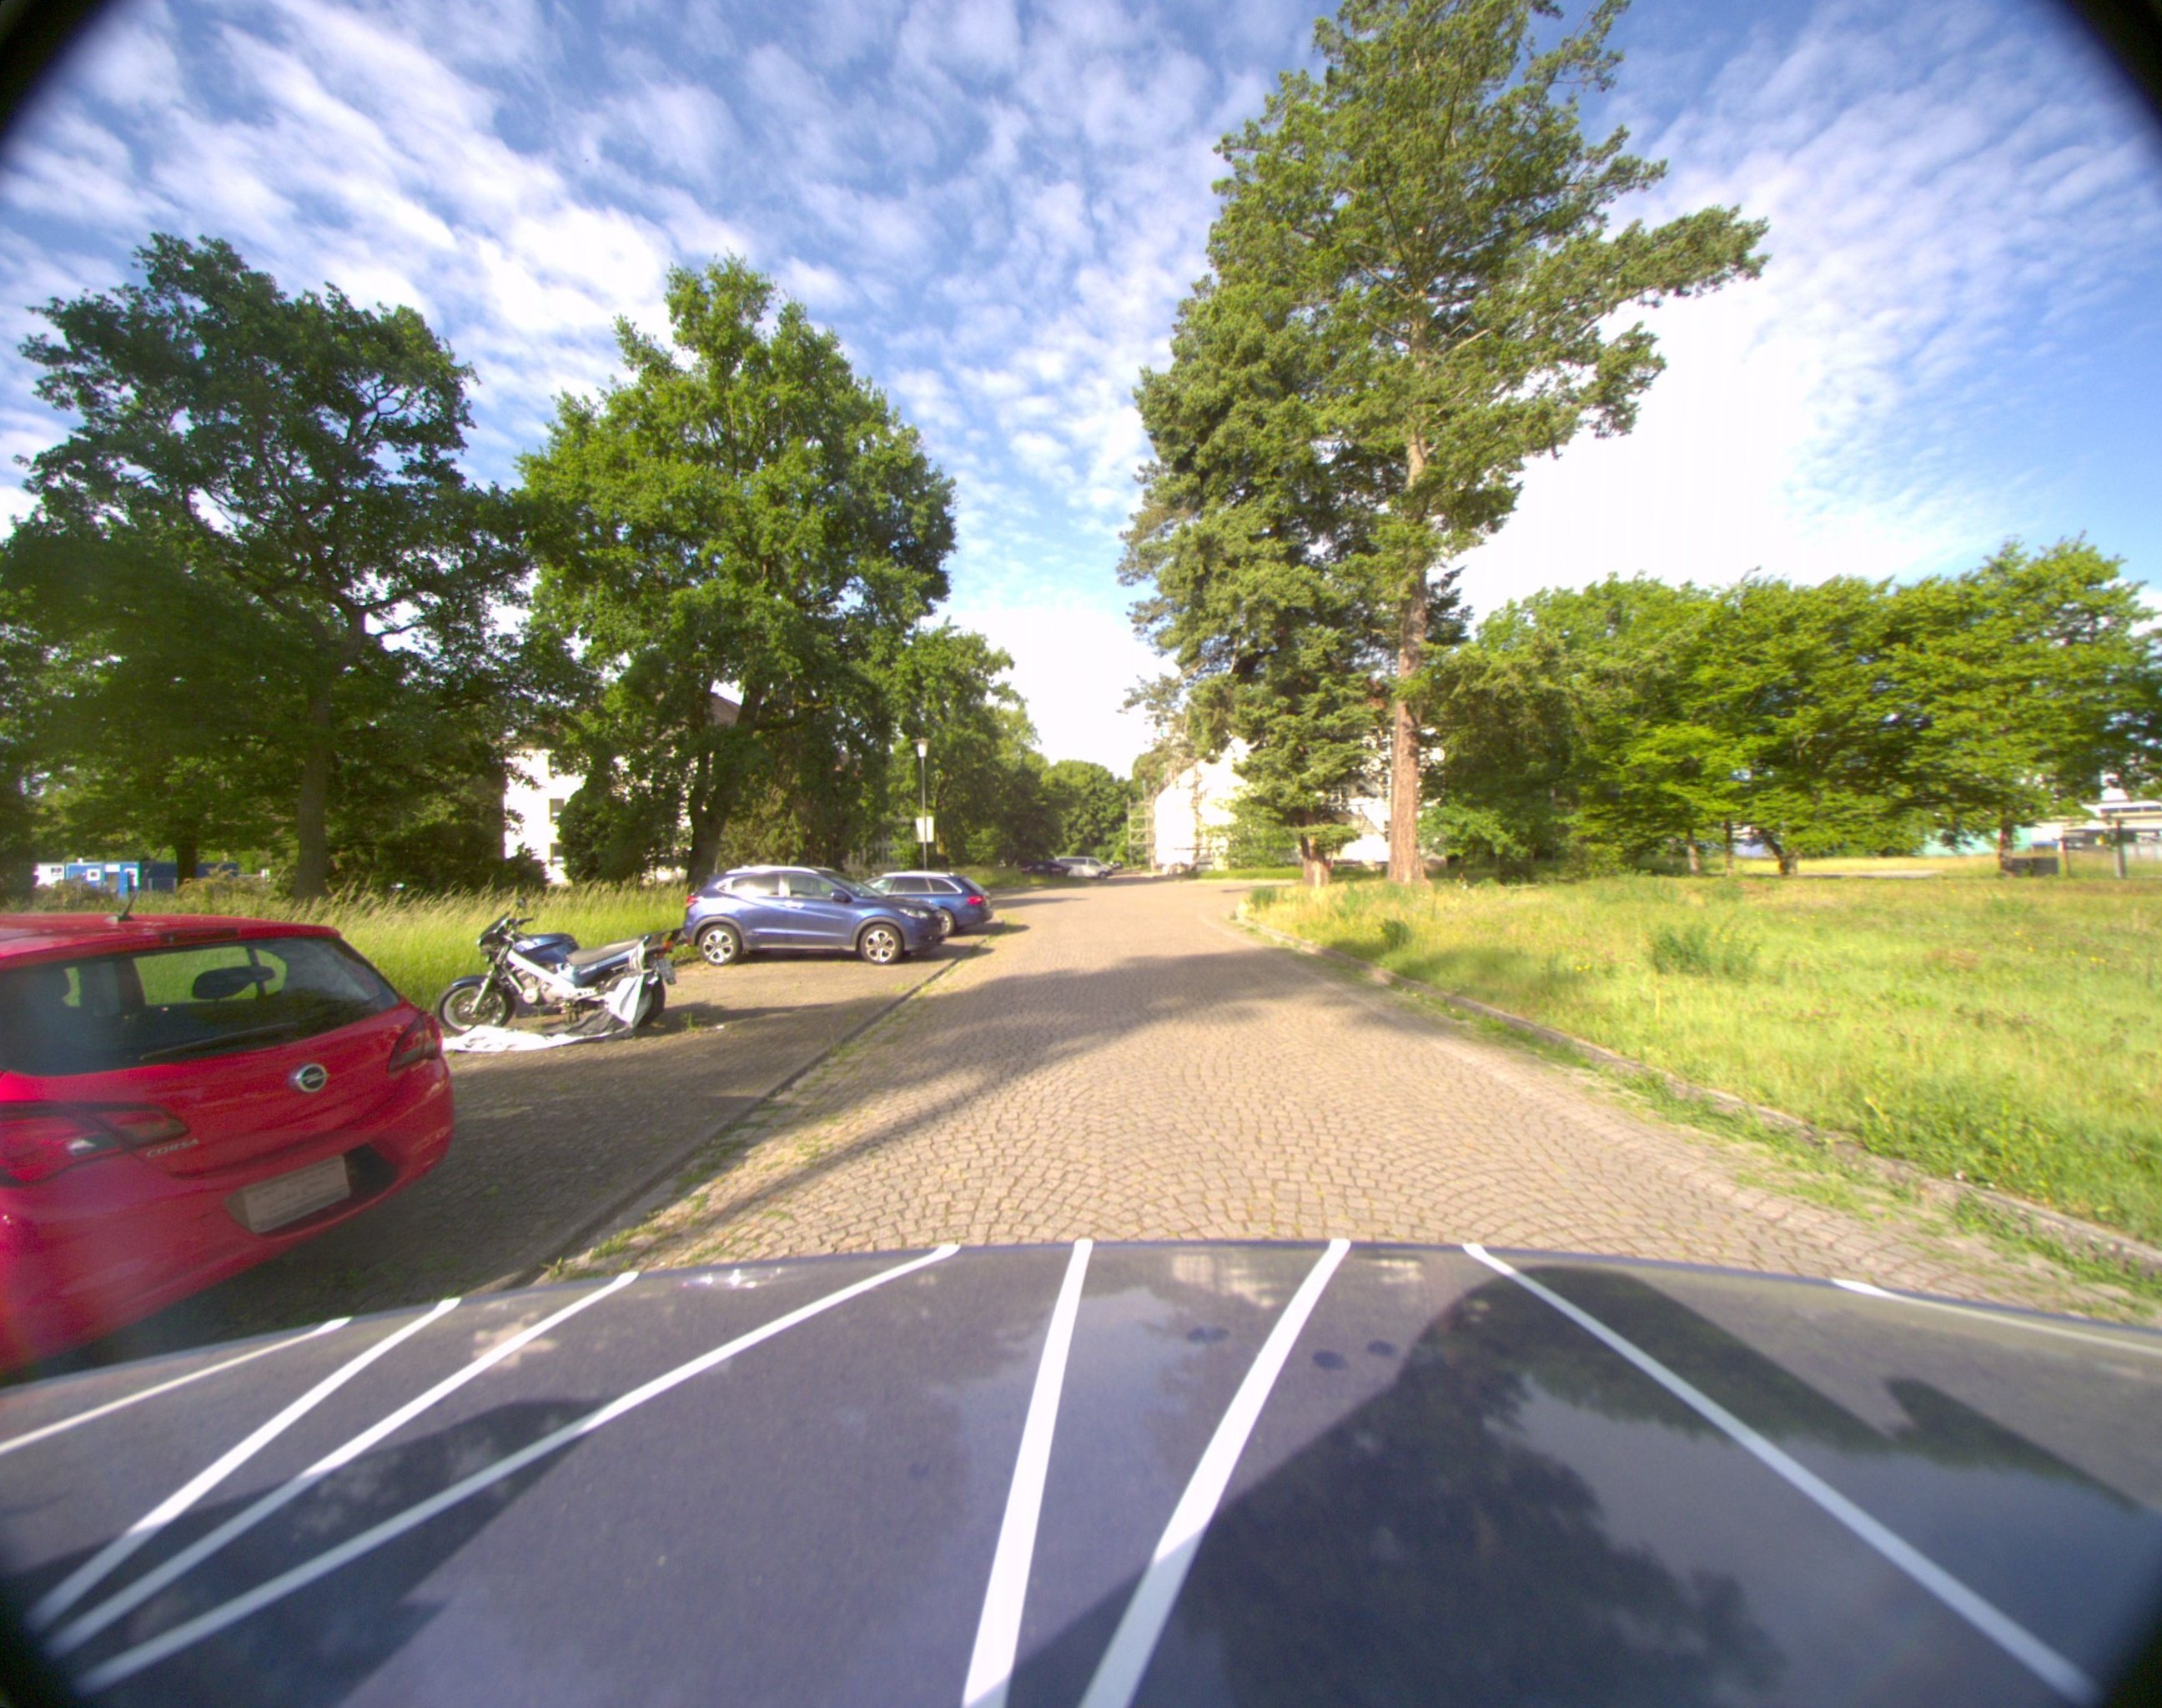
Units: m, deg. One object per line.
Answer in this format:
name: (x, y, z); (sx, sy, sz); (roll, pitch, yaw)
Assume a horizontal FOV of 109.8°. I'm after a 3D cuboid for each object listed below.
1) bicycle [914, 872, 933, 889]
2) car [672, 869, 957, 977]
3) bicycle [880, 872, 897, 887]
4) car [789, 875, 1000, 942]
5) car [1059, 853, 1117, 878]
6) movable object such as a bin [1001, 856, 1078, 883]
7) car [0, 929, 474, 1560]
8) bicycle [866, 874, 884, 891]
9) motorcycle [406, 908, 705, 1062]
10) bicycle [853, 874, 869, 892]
bicycle: (-9.575, 1.617, 46.269); (0.710, 1.010, 1.257); (-1, 0, 8)
car: (-4.368, 1.111, 12.919); (4.187, 1.581, 1.751); (-1, 0, 0)
bicycle: (-12.960, 1.712, 51.122); (0.712, 1.010, 1.024); (-1, 0, -37)
car: (-4.229, 1.221, 17.635); (4.459, 1.399, 1.714); (0, 0, 3)
car: (0.639, 0.970, 66.417); (4.936, 2.002, 2.000); (-1, 0, 1)
movable object such as a bin: (-2.908, 1.076, 53.465); (4.931, 1.749, 2.002); (-1, 0, 15)
car: (-4.675, 1.089, 2.613); (3.837, 1.470, 1.645); (-1, 0, 0)
bicycle: (-12.711, 1.755, 46.977); (0.710, 1.010, 1.028); (-1, 0, 8)
motorcycle: (-4.892, 1.199, 7.174); (2.305, 1.312, 0.726); (-1, 0, 0)
bicycle: (-13.478, 1.776, 46.612); (0.619, 1.010, 1.027); (-1, 0, 3)
